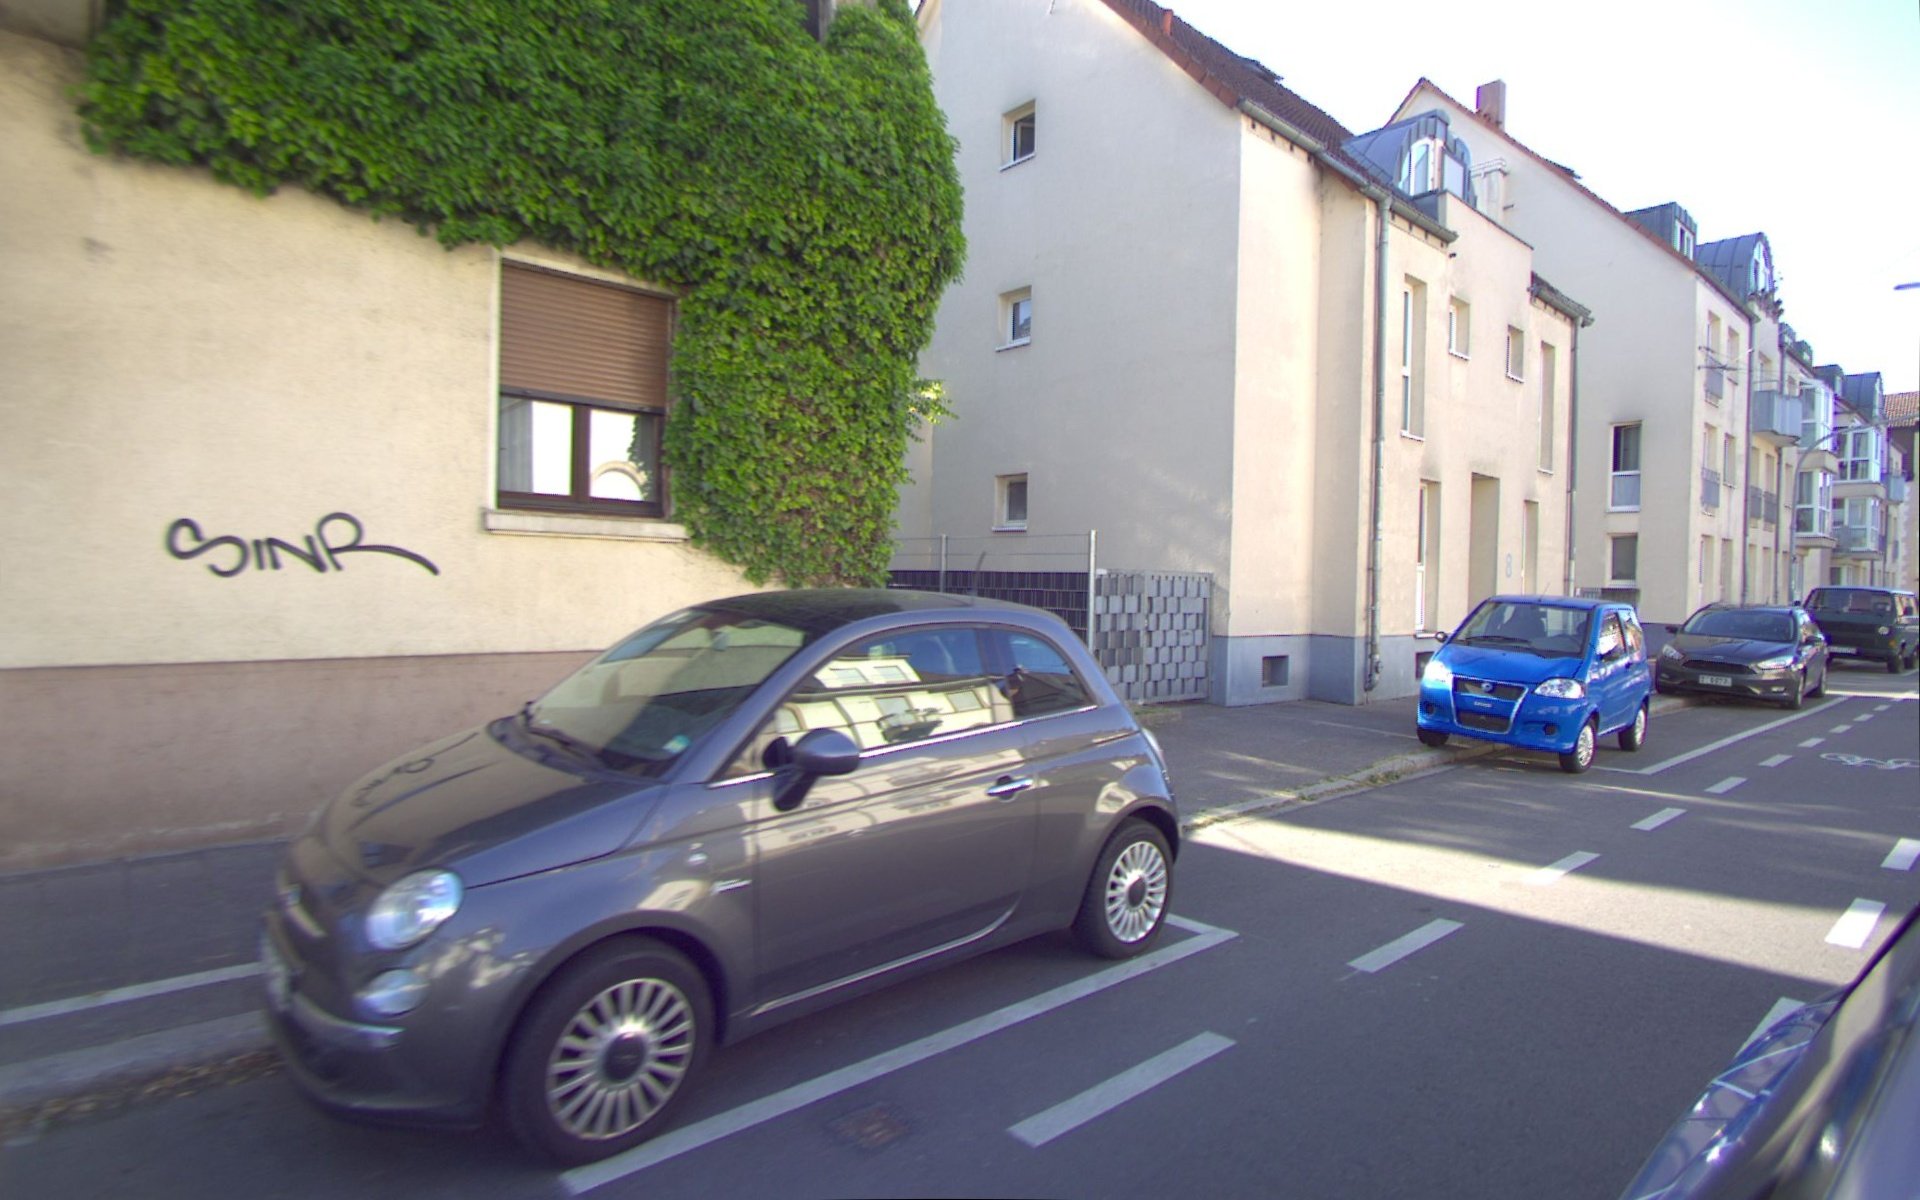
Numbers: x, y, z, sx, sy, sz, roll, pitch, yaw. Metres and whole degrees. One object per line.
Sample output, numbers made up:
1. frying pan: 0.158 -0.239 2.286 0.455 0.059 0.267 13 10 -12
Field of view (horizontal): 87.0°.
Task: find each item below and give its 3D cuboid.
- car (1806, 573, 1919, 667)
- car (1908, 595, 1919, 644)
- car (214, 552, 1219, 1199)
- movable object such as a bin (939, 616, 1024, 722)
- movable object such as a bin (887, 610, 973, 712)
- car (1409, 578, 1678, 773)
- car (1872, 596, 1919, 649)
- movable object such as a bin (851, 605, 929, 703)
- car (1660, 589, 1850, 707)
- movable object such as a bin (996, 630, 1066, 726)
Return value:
1. car: 21.487 0.428 23.762 4.485 2.012 1.908 0 0 -42
2. car: 32.310 0.634 33.140 3.590 1.577 1.556 0 0 -42
3. car: -0.644 0.670 3.946 3.489 1.545 1.603 0 0 -43
4. movable object such as a bin: 0.234 0.725 11.043 0.628 1.070 0.673 0 2 -43
5. movable object such as a bin: -0.347 0.669 11.530 0.628 1.070 0.755 0 2 -43
6. car: 5.889 0.630 10.084 3.238 1.619 1.458 0 0 -43
7. car: 28.395 0.632 29.953 4.101 1.510 1.679 0 0 -42
8. movable object such as a bin: -0.839 0.623 12.064 0.586 1.088 0.734 0 2 -43
9. car: 12.692 0.660 16.052 4.359 1.619 1.746 0 0 -43
10. movable object such as a bin: 0.738 0.799 10.529 0.506 0.927 0.493 0 1 -43
